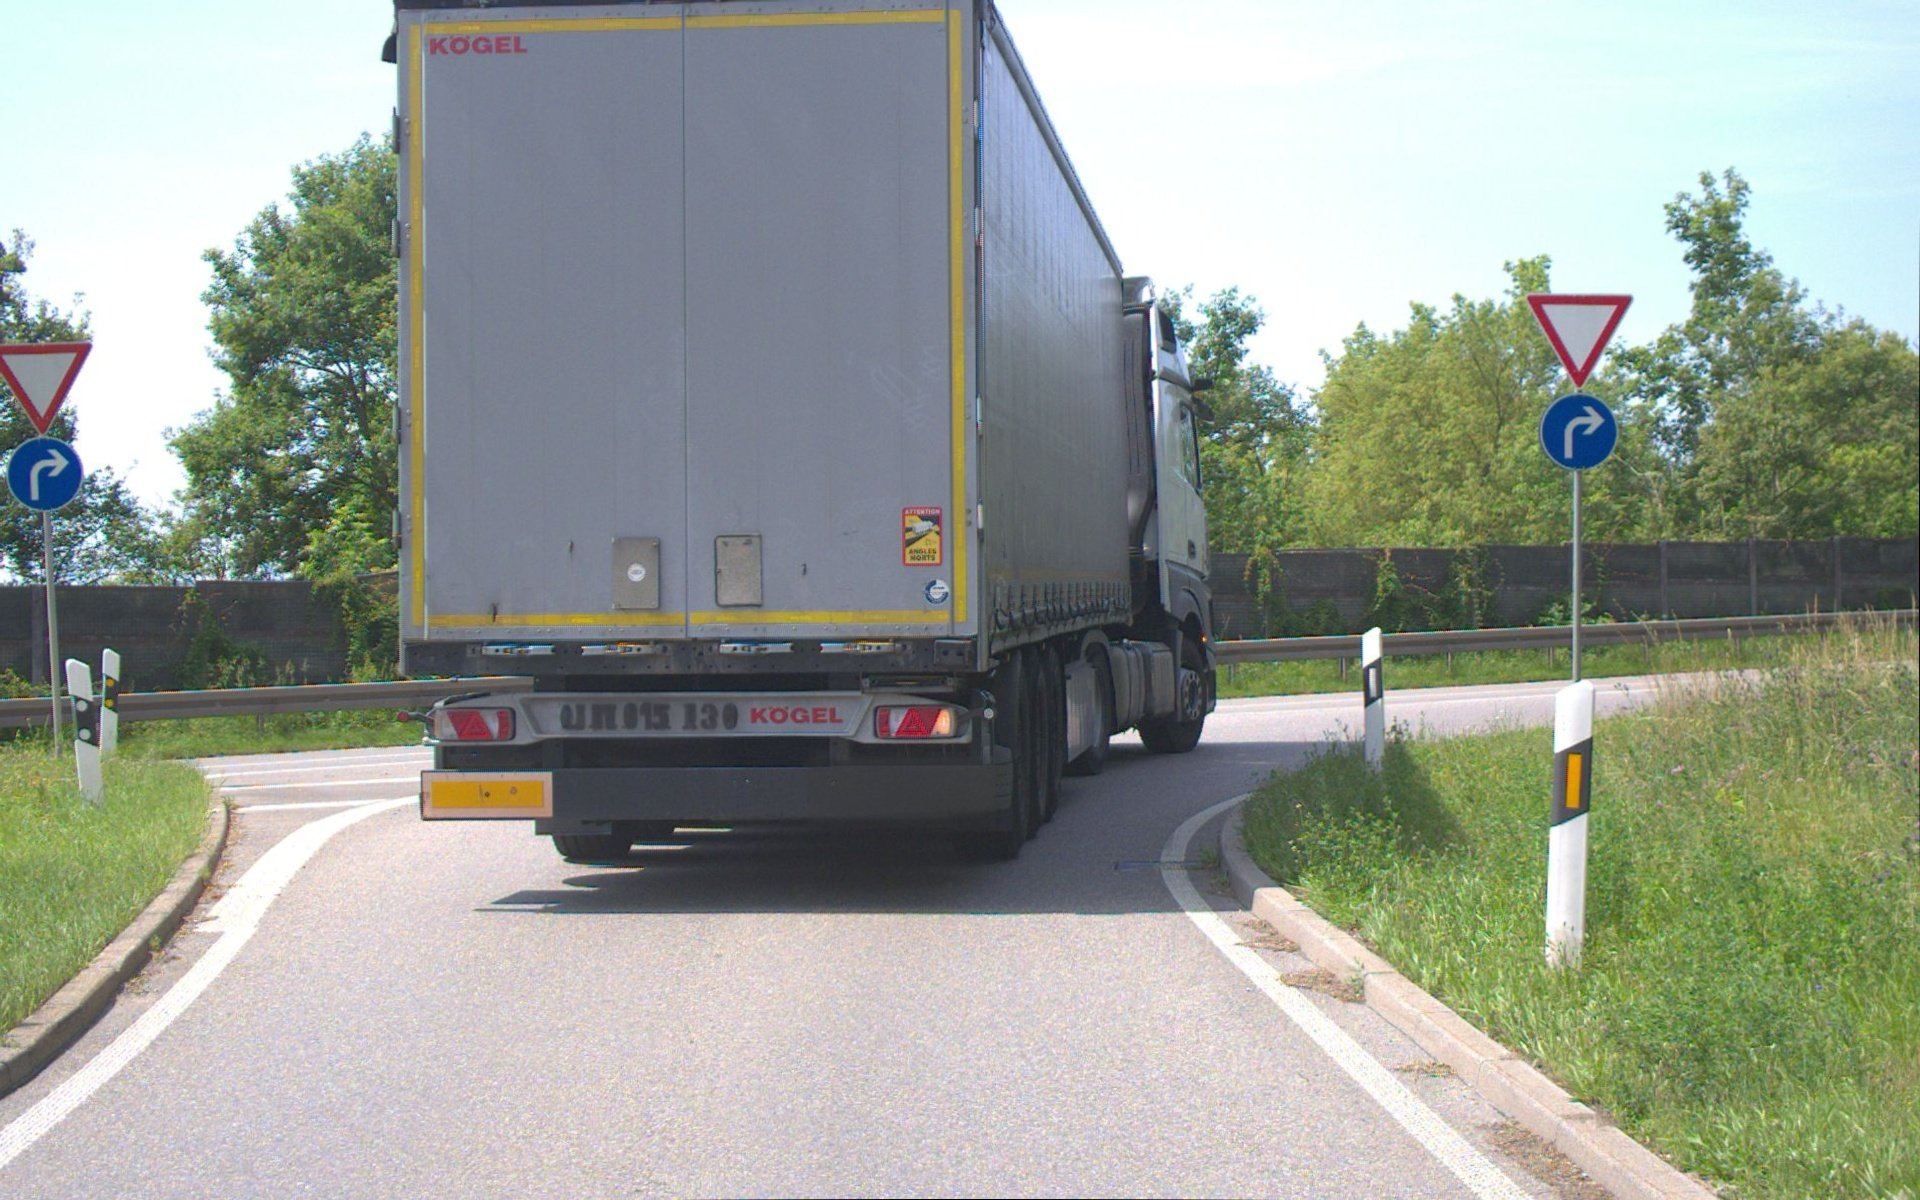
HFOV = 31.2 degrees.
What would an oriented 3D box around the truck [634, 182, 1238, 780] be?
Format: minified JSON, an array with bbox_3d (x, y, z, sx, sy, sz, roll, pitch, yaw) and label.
[{"bbox_3d":[0.071,-0.809,28.130,3.155,4.210,7.117,-1,-1,14],"label":"truck"}]

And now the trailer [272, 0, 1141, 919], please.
[{"bbox_3d":[-0.724,-0.717,20.927,3.027,4.021,13.349,-1,0,5],"label":"trailer"}]
